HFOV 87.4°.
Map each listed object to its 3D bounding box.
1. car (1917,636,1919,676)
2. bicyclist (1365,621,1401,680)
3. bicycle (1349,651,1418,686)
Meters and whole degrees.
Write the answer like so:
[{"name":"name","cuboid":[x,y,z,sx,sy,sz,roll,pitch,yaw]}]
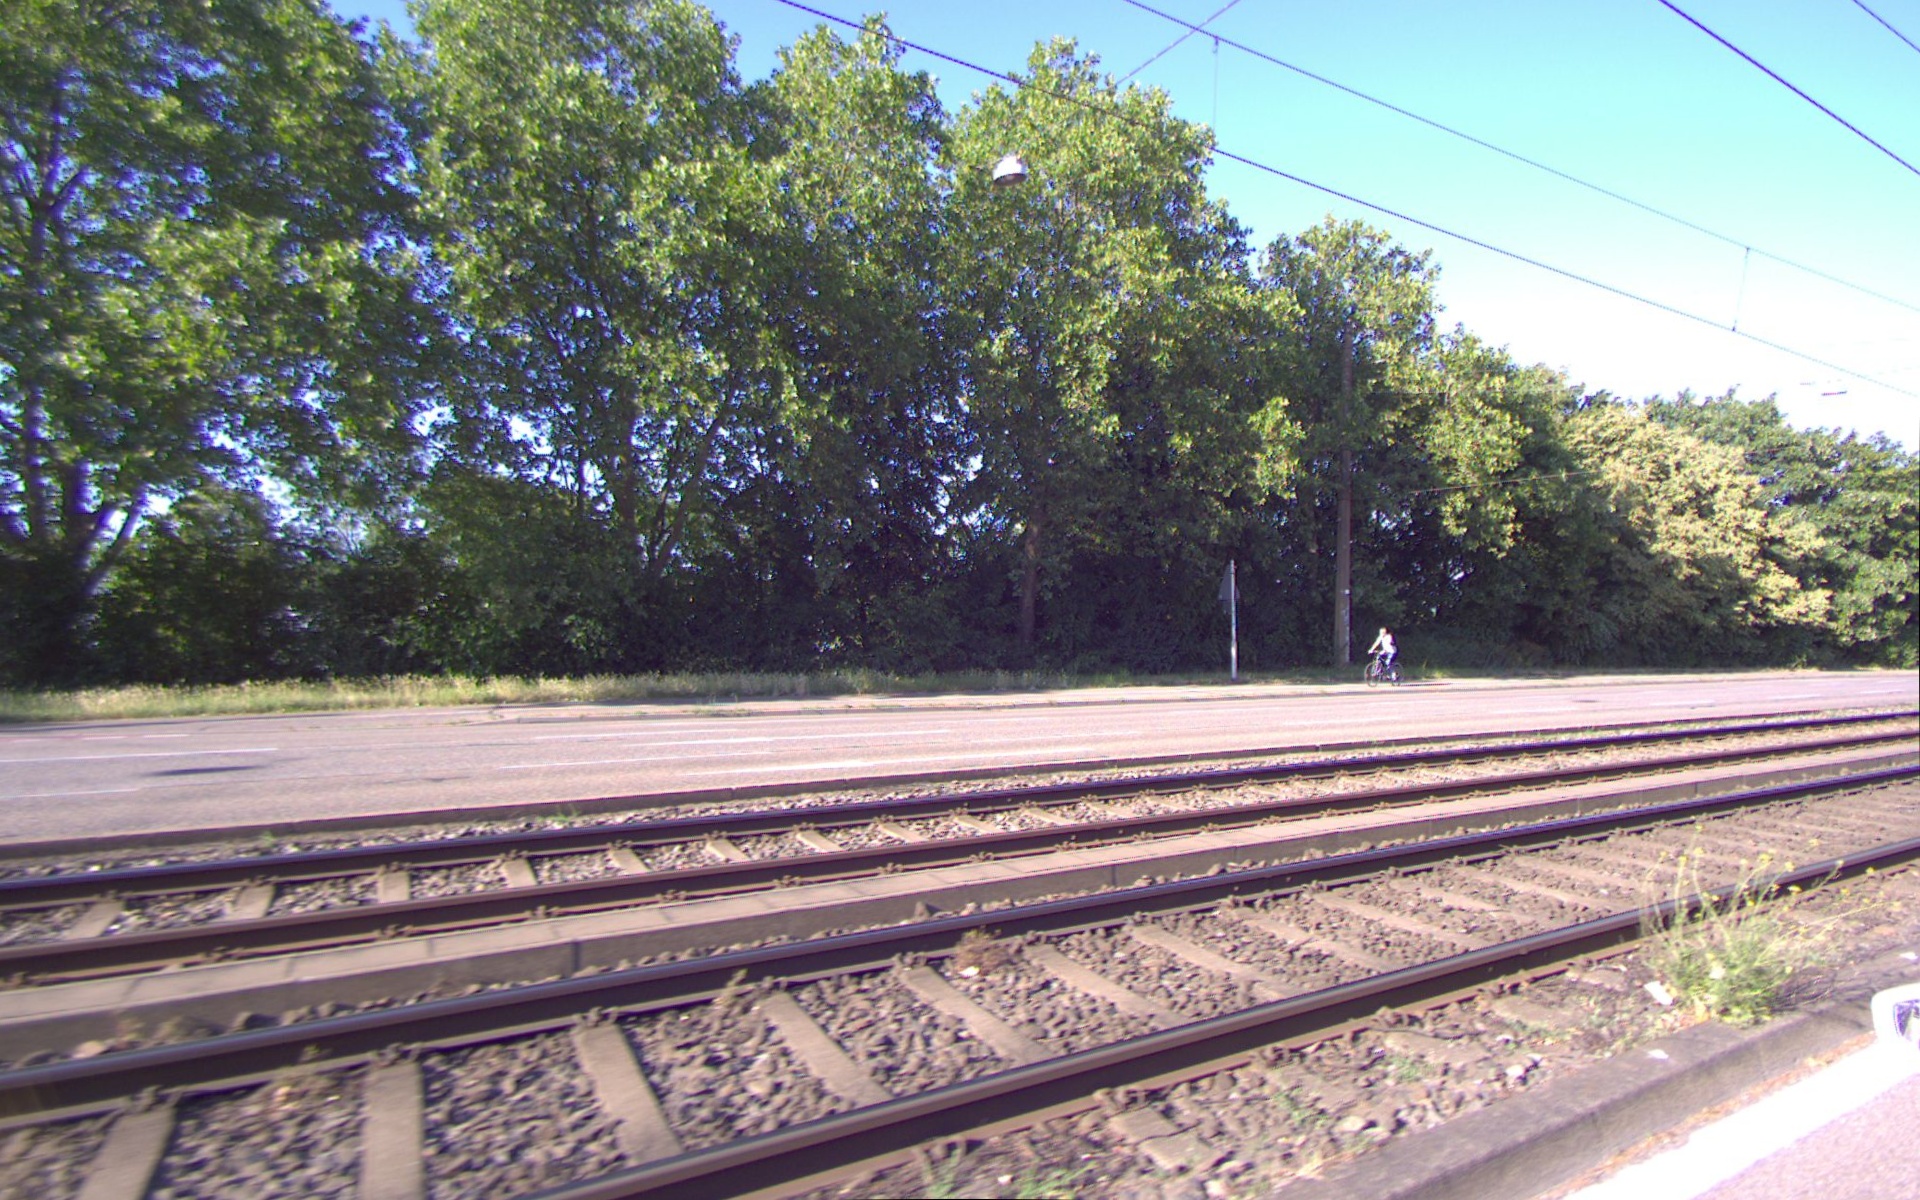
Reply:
[{"name":"car","cuboid":[43.347,2.406,43.016,4.734,1.707,1.987,2,-3,-27]},{"name":"bicyclist","cuboid":[12.554,1.493,29.790,0.809,1.713,0.548,1,0,-26]},{"name":"bicycle","cuboid":[12.577,2.019,29.802,2.209,0.999,0.548,2,0,-27]}]
